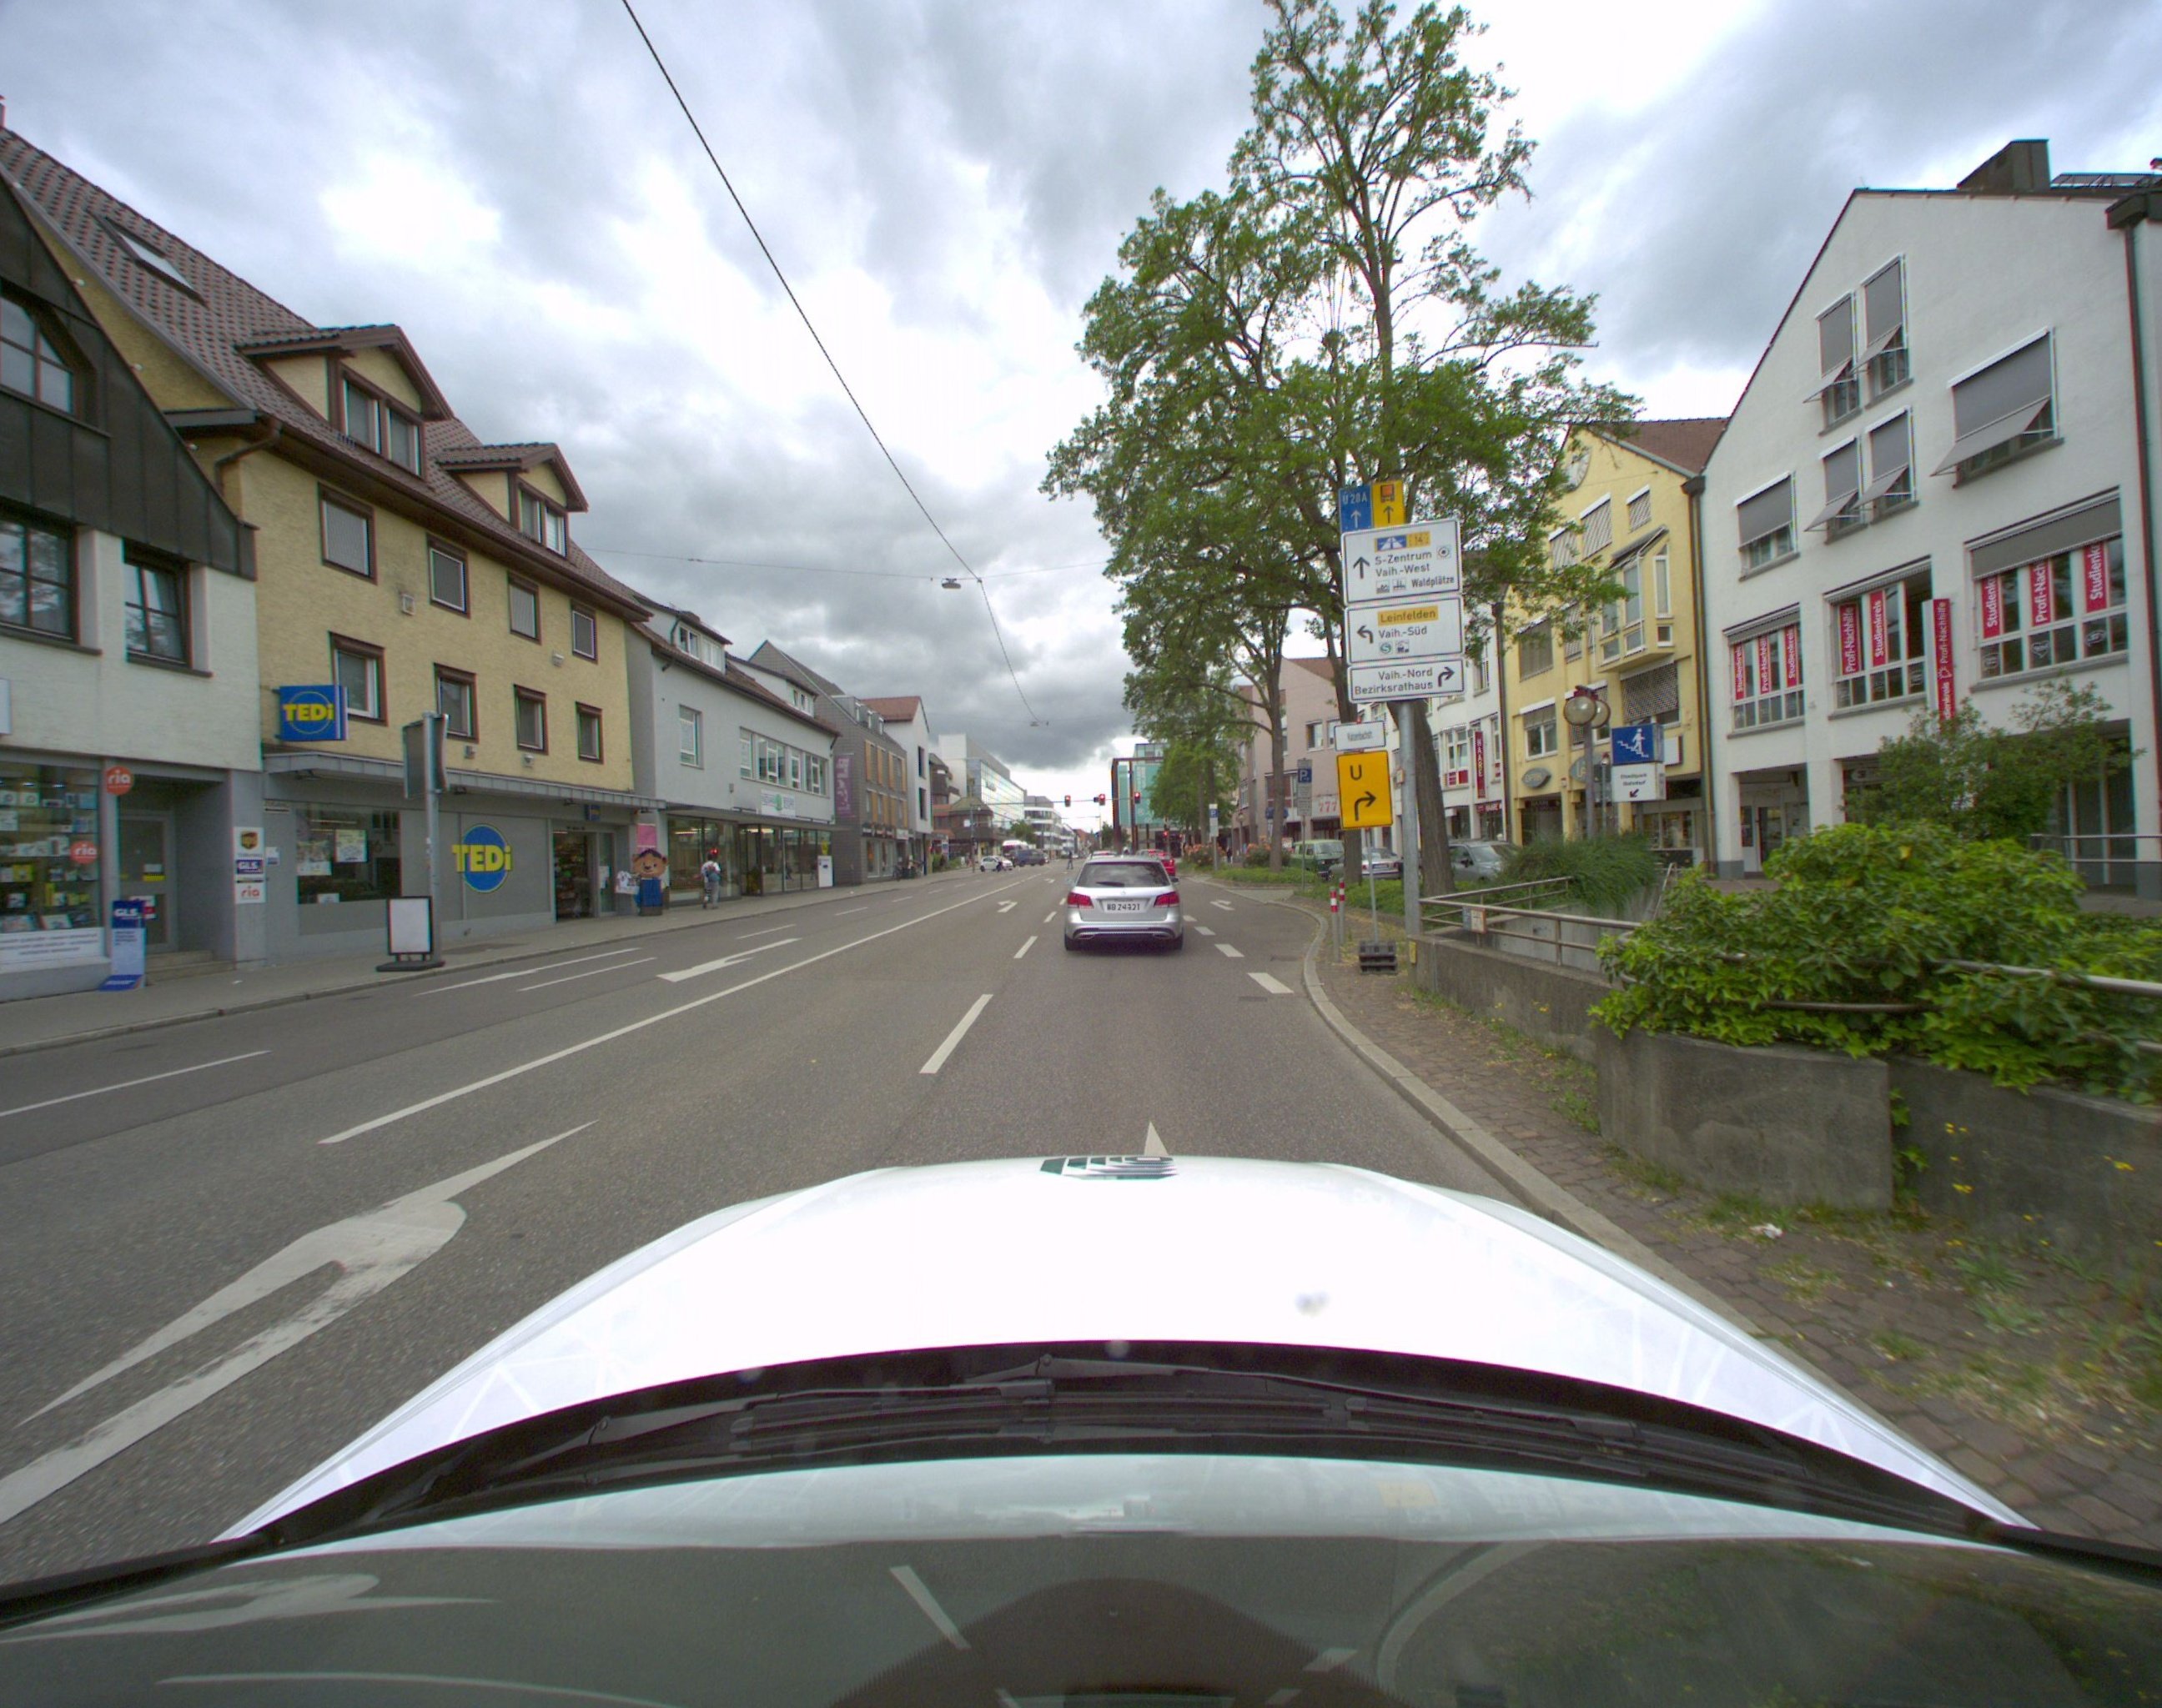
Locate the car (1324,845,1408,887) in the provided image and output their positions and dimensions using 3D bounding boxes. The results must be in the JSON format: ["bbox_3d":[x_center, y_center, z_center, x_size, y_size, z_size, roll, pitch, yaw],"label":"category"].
[{"bbox_3d":[11.290,0.450,32.552,1.861,1.527,3.998,-2,0,-1],"label":"car"}]

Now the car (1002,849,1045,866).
[{"bbox_3d":[-6.752,0.404,95.937,4.952,1.823,1.976,-2,0,-42],"label":"car"}]

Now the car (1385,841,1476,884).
[{"bbox_3d":[13.930,0.314,32.716,1.861,1.527,3.998,-2,0,-1],"label":"car"}]

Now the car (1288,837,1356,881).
[{"bbox_3d":[11.130,0.222,37.826,1.861,1.864,3.998,-2,0,-1],"label":"car"}]

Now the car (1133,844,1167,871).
[{"bbox_3d":[4.599,0.214,54.514,1.986,1.684,4.002,-2,0,2],"label":"car"}]

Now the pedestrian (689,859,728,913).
[{"bbox_3d":[-11.656,0.989,25.520,0.815,1.634,0.979,0,0,-4],"label":"pedestrian"}]

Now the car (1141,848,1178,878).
[{"bbox_3d":[4.400,0.492,46.203,1.748,1.521,4.001,-3,0,1],"label":"car"}]

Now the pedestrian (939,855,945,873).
[{"bbox_3d":[-13.042,0.927,76.400,0.586,1.670,0.639,1,1,-12],"label":"pedestrian"}]

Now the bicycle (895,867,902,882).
[{"bbox_3d":[-11.537,1.306,51.476,0.273,0.891,1.225,-2,0,-8],"label":"bicycle"}]

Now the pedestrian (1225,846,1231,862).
[{"bbox_3d":[14.530,-0.016,80.490,0.608,1.634,0.590,1,0,14],"label":"pedestrian"}]

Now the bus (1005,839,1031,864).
[{"bbox_3d":[-8.472,-0.329,110.851,2.765,3.165,5.935,-2,0,2],"label":"bus"}]

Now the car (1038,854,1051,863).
[{"bbox_3d":[-5.240,0.601,117.850,1.569,1.244,3.608,-2,0,2],"label":"car"}]

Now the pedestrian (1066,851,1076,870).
[{"bbox_3d":[-0.906,0.526,71.025,0.831,1.634,0.587,1,0,-2],"label":"pedestrian"}]

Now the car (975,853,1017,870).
[{"bbox_3d":[-8.276,0.721,79.158,3.948,1.530,1.677,-2,0,38],"label":"car"}]

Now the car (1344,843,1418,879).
[{"bbox_3d":[13.873,0.316,37.892,1.861,1.527,3.998,-2,0,-1],"label":"car"}]

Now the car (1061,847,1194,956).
[{"bbox_3d":[0.658,0.690,13.677,1.868,1.506,3.999,-2,0,0],"label":"car"}]

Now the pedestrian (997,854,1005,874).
[{"bbox_3d":[-6.810,0.830,68.948,0.613,1.634,0.586,1,0,-11],"label":"pedestrian"}]

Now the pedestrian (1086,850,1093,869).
[{"bbox_3d":[0.729,0.487,69.660,0.611,1.634,0.587,1,0,-2],"label":"pedestrian"}]

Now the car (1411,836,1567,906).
[{"bbox_3d":[10.934,0.423,22.248,1.875,1.638,4.496,-2,0,-2],"label":"car"}]

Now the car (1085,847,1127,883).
[{"bbox_3d":[1.286,0.548,42.112,1.986,1.684,4.002,-2,0,2],"label":"car"}]
